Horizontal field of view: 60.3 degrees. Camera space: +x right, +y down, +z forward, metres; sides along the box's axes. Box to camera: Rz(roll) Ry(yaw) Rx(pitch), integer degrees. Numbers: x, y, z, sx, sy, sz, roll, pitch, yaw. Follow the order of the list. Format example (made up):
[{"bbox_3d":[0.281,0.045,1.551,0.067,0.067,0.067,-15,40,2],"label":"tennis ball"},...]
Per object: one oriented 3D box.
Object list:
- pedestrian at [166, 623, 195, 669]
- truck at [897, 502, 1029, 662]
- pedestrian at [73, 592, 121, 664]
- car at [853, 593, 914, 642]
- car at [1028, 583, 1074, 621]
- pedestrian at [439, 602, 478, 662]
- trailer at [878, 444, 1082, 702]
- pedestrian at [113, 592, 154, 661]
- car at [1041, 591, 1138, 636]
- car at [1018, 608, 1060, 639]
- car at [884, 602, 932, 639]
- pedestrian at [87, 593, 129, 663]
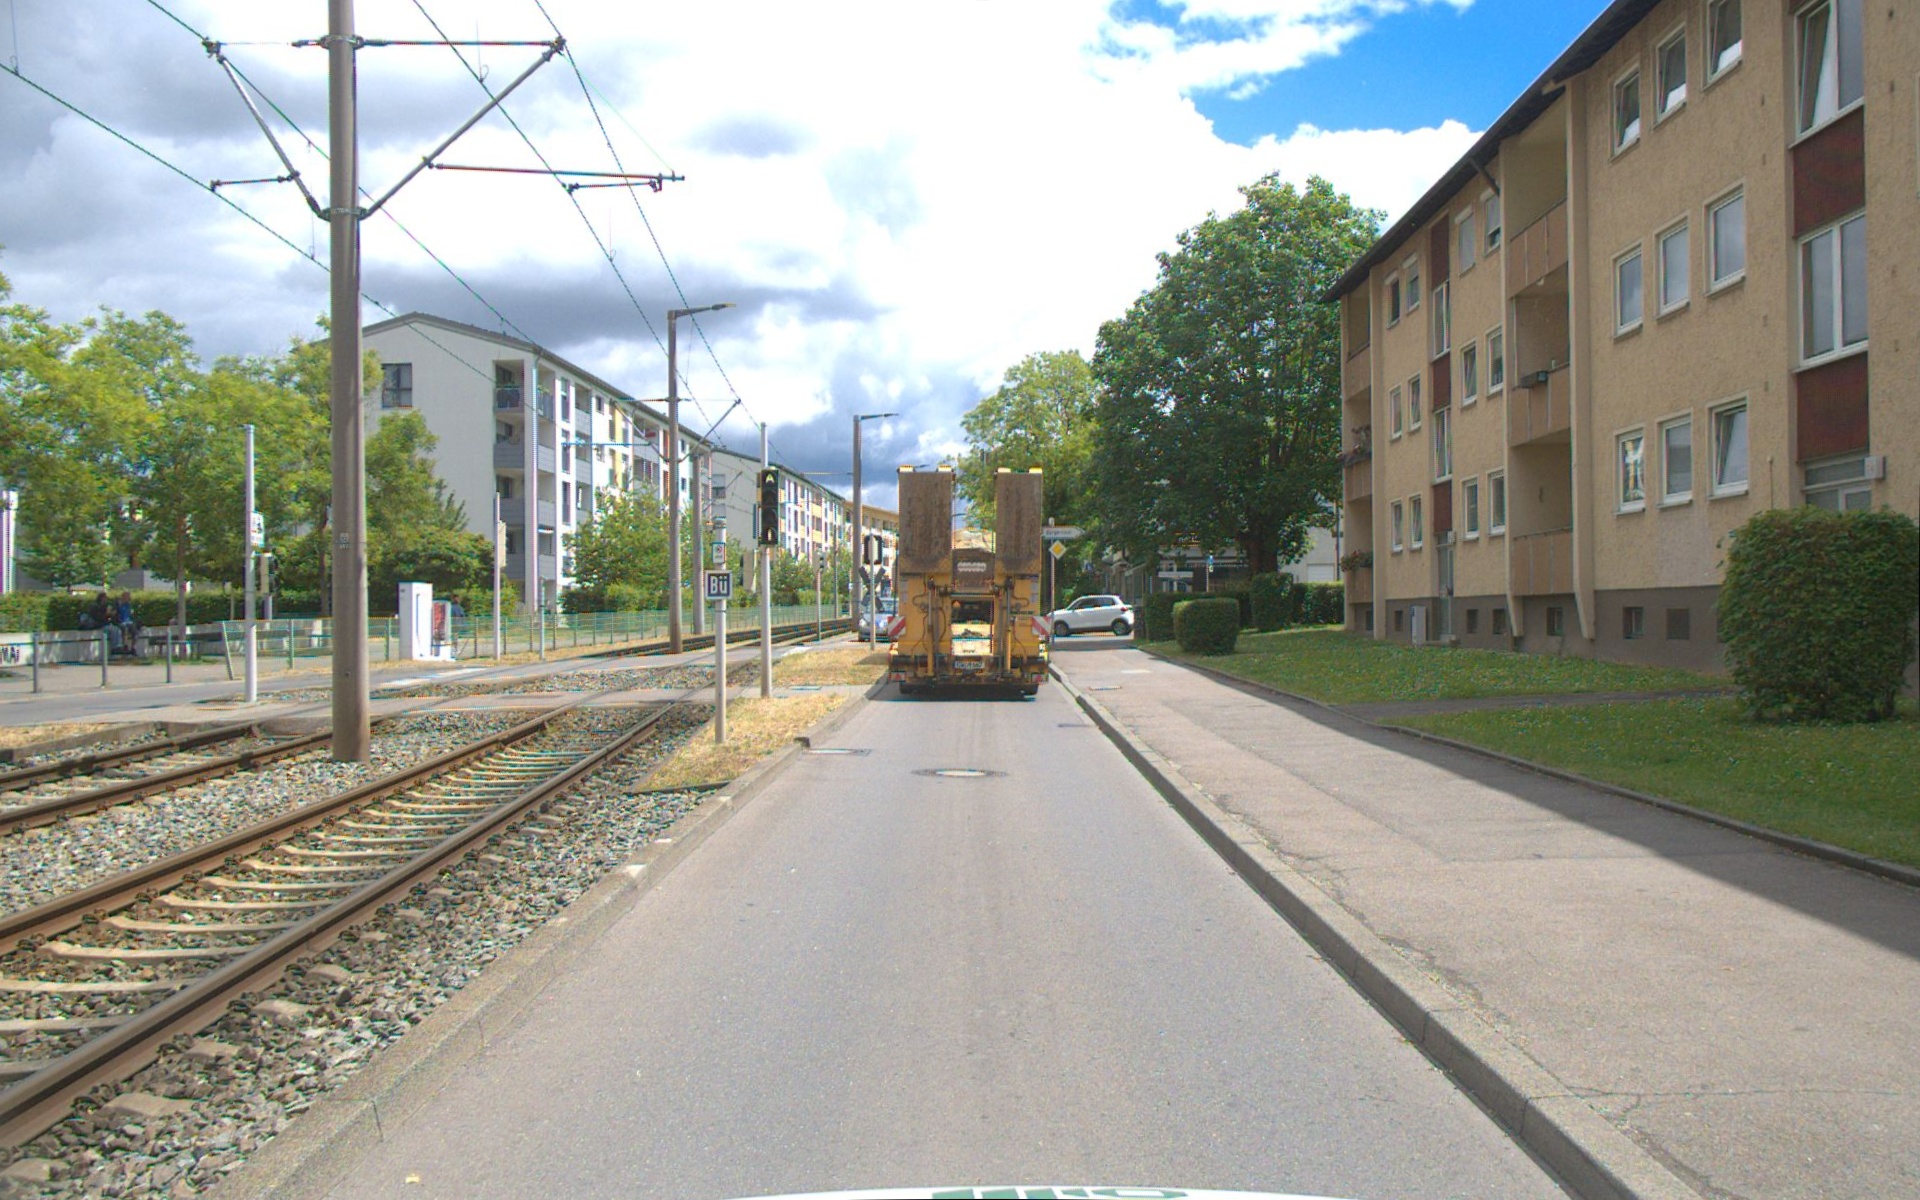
[{"bbox_3d":[-22.077,1.289,46.819,0.533,1.268,0.458,-2,1,21],"label":"pedestrian"},{"bbox_3d":[-0.055,-0.461,40.133,2.777,3.388,7.982,-2,1,-2],"label":"truck"},{"bbox_3d":[-19.700,0.630,37.763,0.609,1.600,0.699,-2,1,11],"label":"pedestrian"},{"bbox_3d":[-2.781,0.633,60.904,1.764,1.681,4.133,-2,-1,3],"label":"car"},{"bbox_3d":[4.359,0.066,79.634,1.953,1.646,4.000,-2,1,0],"label":"car"},{"bbox_3d":[-14.460,0.918,47.706,0.734,1.690,0.870,-2,1,4],"label":"pedestrian"},{"bbox_3d":[0.126,-0.521,31.051,2.989,3.838,11.609,-2,1,-2],"label":"trailer"},{"bbox_3d":[-19.623,0.629,39.296,0.609,1.600,0.558,-2,1,6],"label":"pedestrian"},{"bbox_3d":[5.140,0.530,65.286,3.521,1.612,2.002,-2,0,12],"label":"car"},{"bbox_3d":[4.003,1.184,84.458,1.953,1.411,4.000,-2,1,0],"label":"car"},{"bbox_3d":[-2.075,0.827,66.667,1.568,1.405,3.958,-2,-1,3],"label":"car"},{"bbox_3d":[-19.785,0.647,38.411,0.609,1.600,0.558,-2,1,11],"label":"pedestrian"}]
